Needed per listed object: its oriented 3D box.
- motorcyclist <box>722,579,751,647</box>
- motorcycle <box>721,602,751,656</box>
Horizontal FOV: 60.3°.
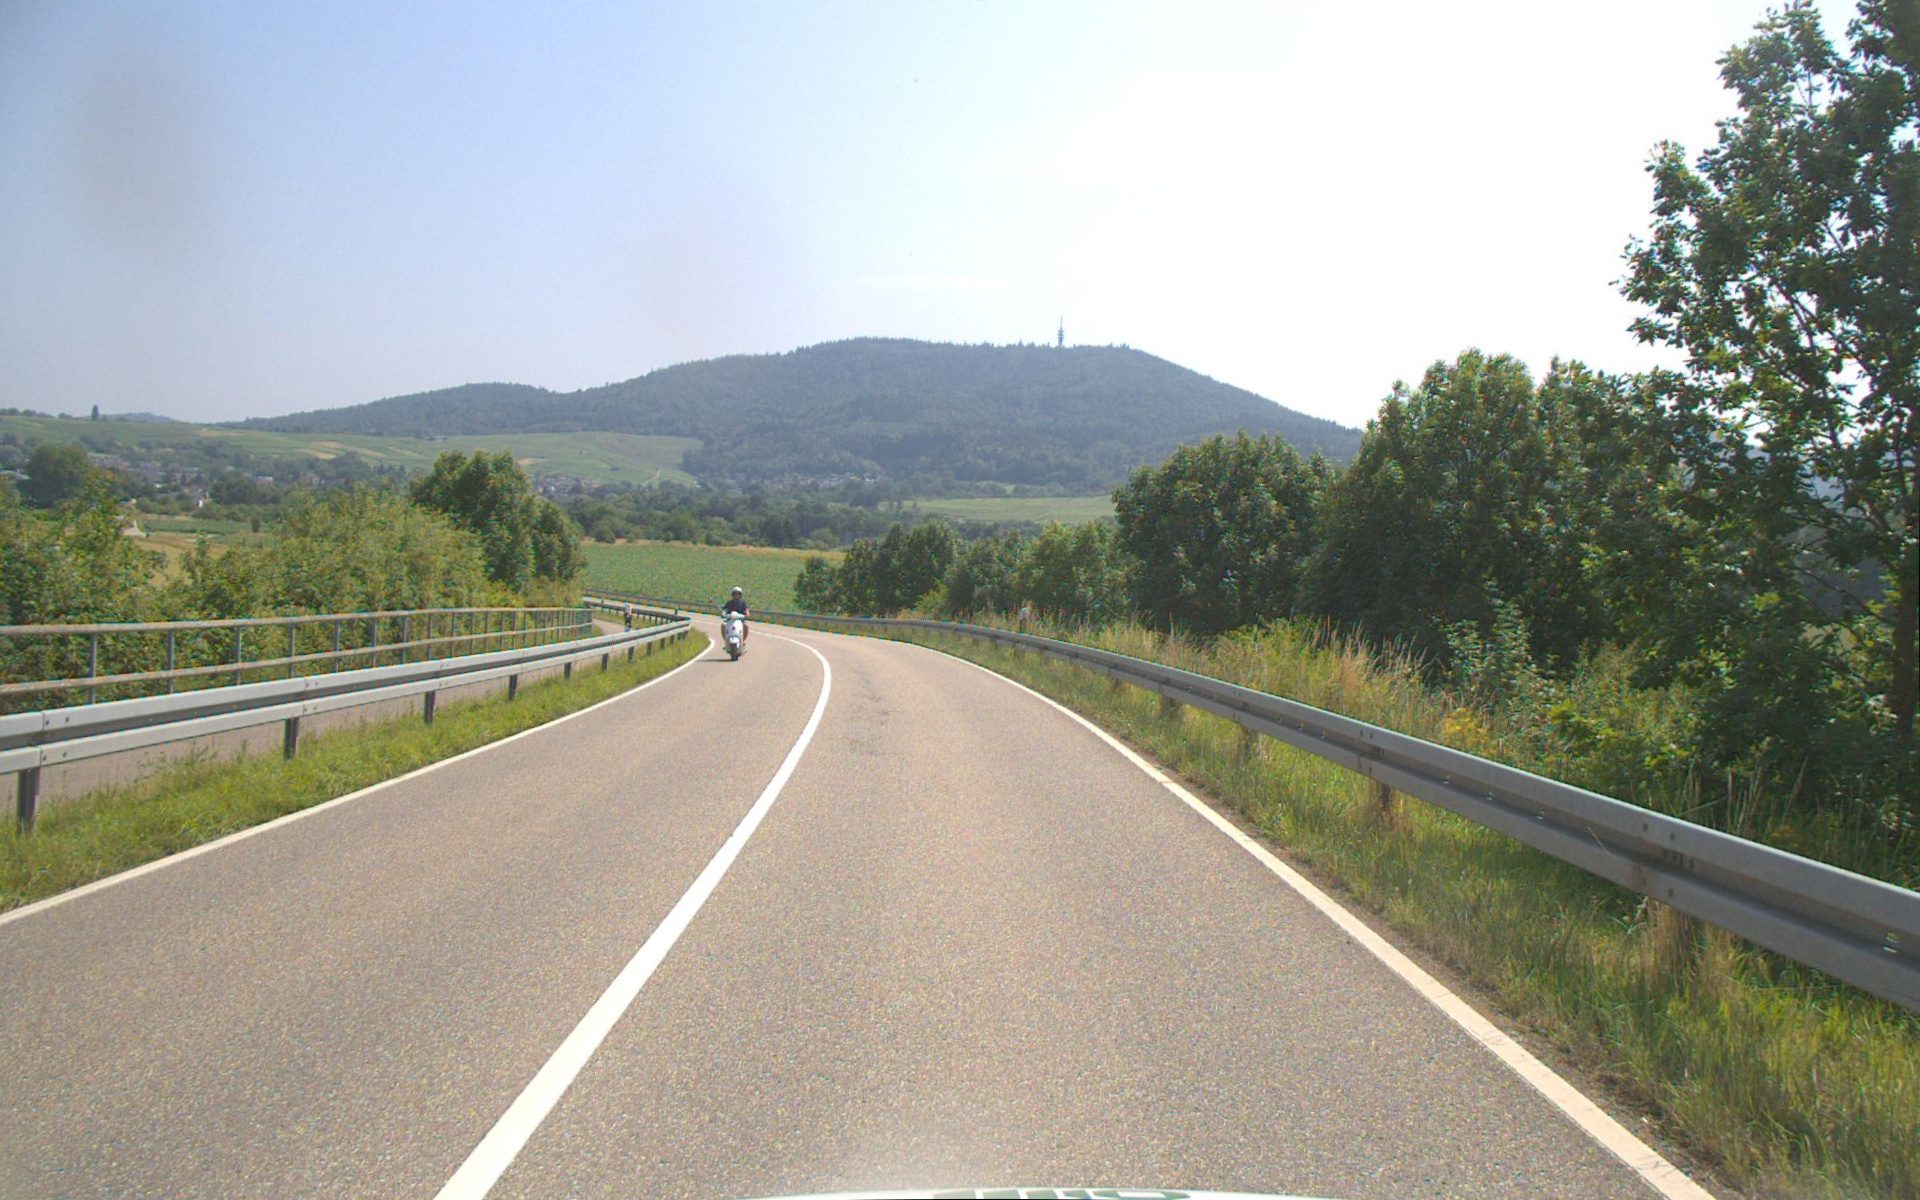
[{"bbox_3d":[-5.290,0.295,39.161,0.641,1.590,0.774,0,0,-6],"label":"motorcyclist"},{"bbox_3d":[-5.297,0.677,39.139,0.630,1.245,1.636,0,0,-6],"label":"motorcycle"}]
